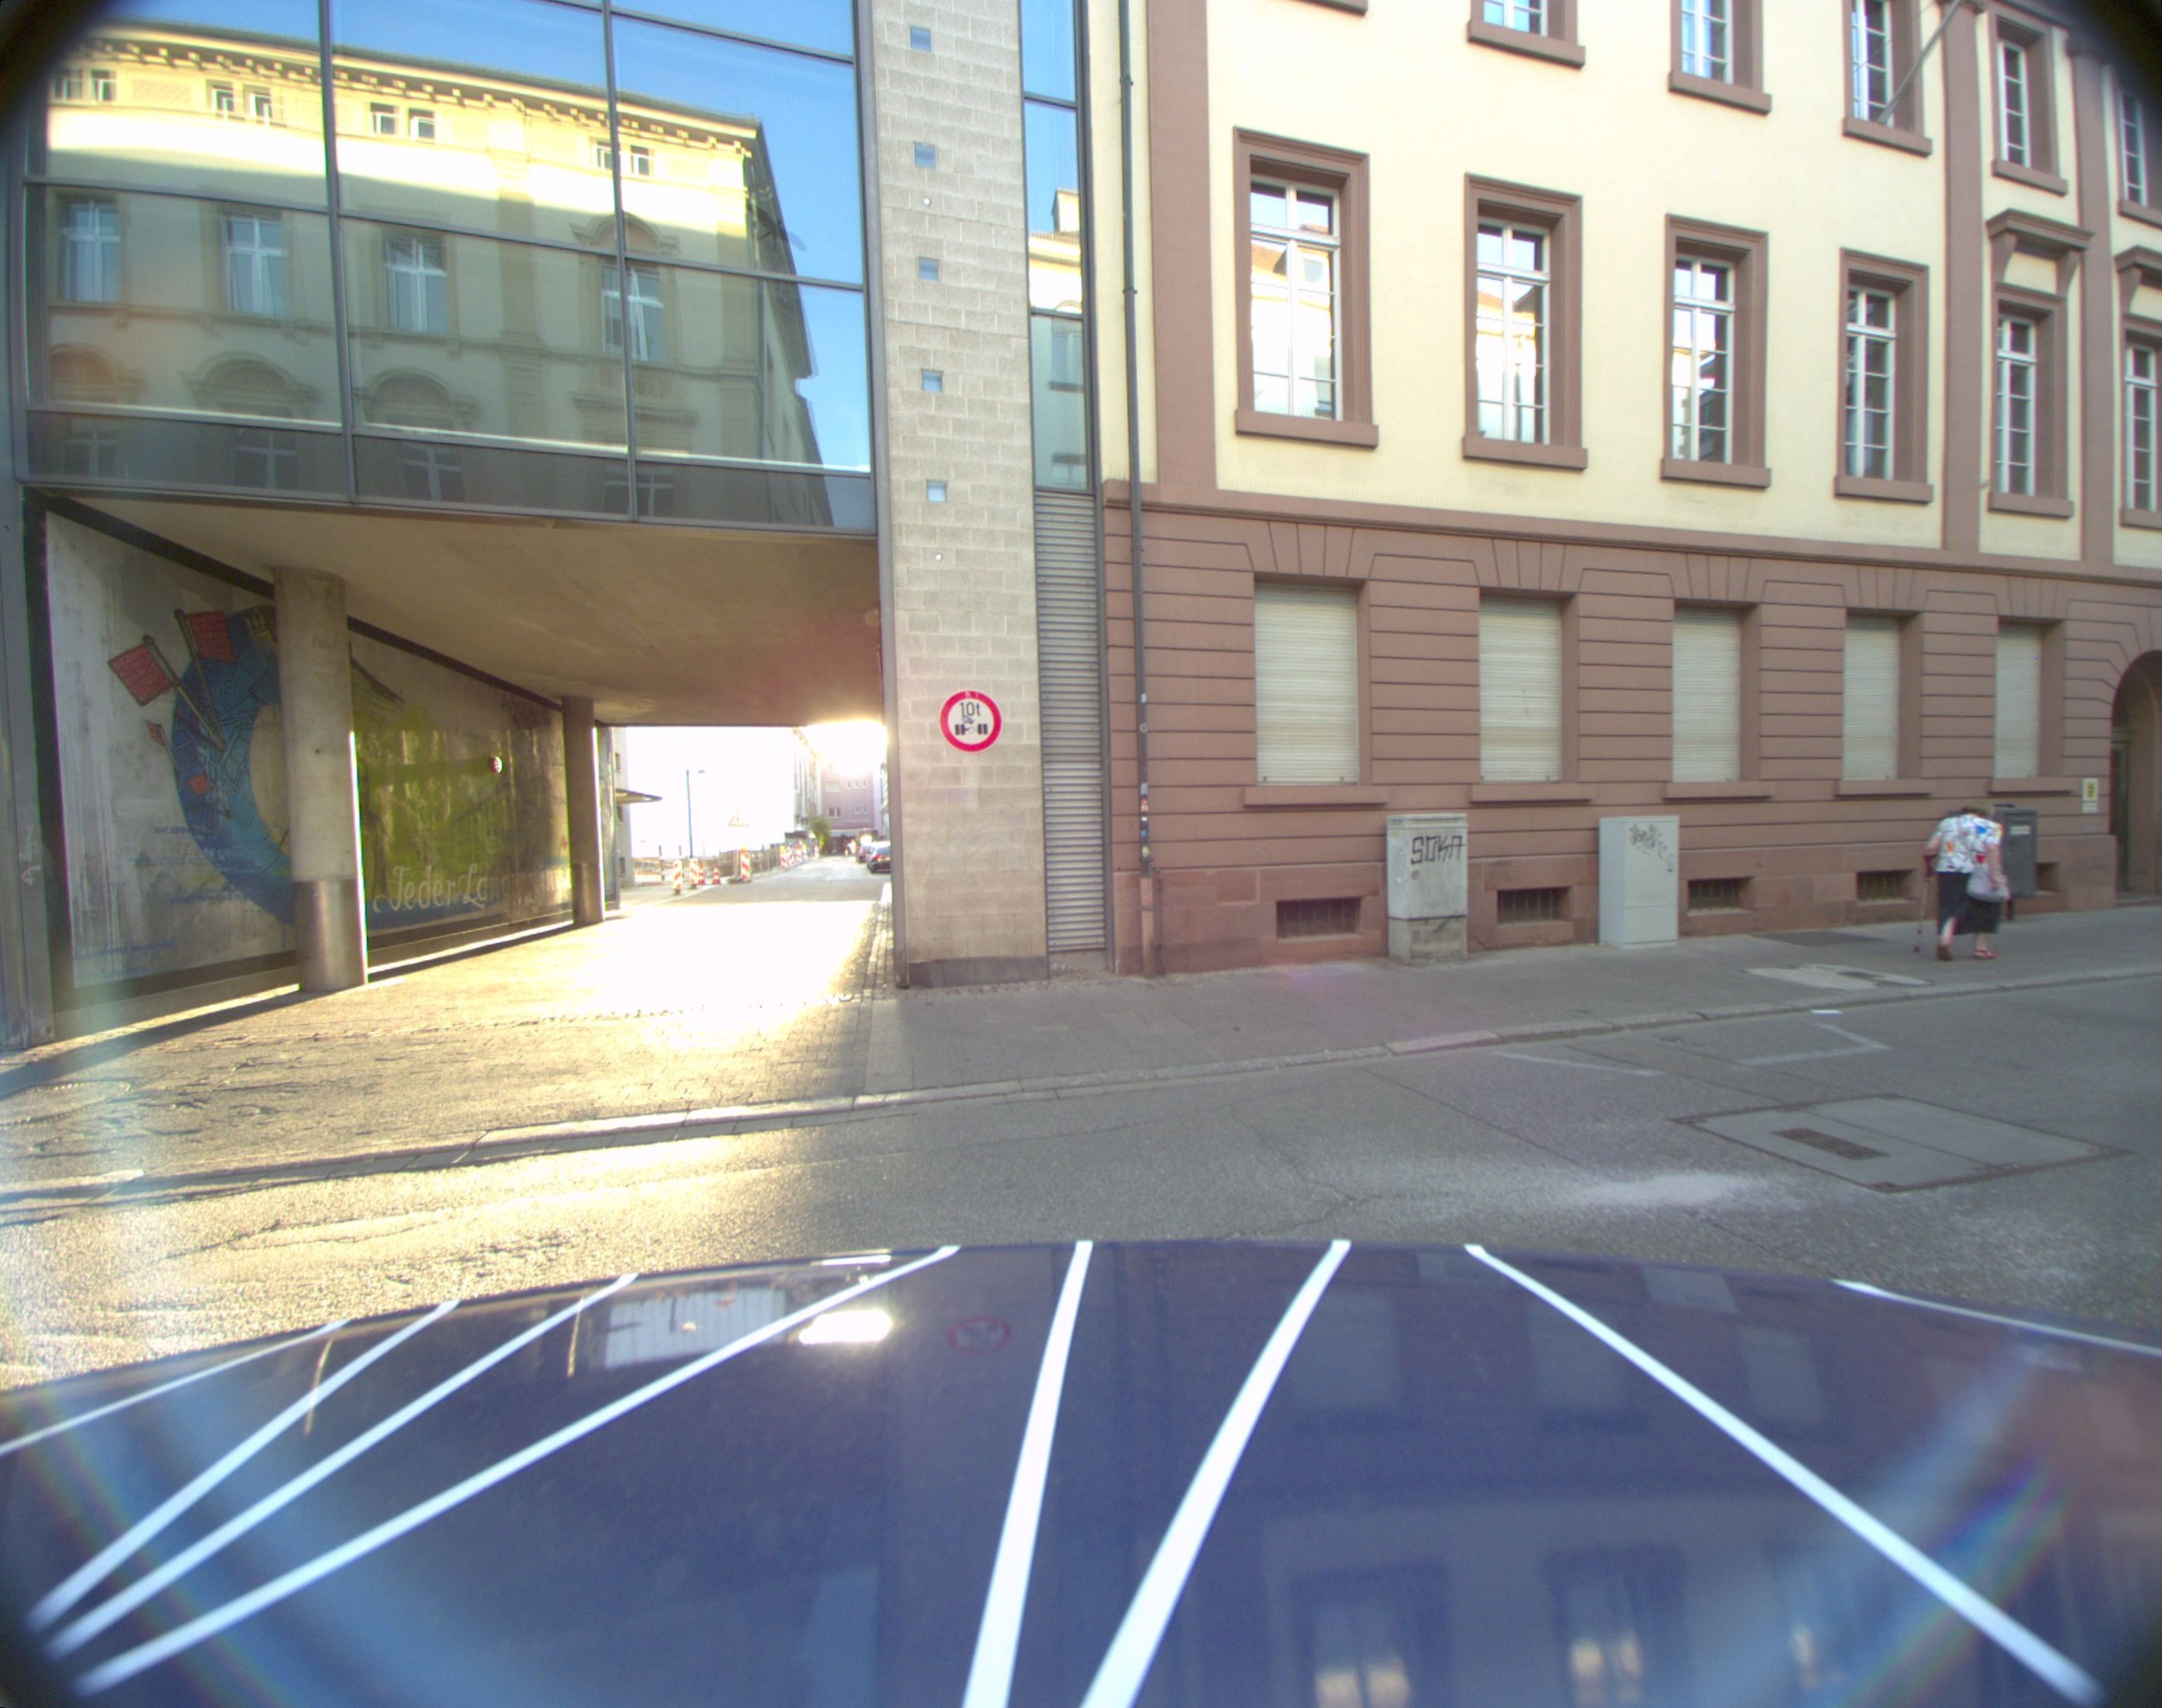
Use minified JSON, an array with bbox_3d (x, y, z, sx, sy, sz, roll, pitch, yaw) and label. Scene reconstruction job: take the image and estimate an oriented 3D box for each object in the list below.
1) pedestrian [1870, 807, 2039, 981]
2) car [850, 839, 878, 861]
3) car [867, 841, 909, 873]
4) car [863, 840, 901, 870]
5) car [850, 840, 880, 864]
[{"bbox_3d":[8.940,0.372,7.805,0.931,1.662,0.811,-2,2,-15],"label":"pedestrian"},{"bbox_3d":[-15.859,-0.289,55.479,1.603,1.484,3.438,-2,1,-21],"label":"car"},{"bbox_3d":[-9.660,0.138,37.838,1.603,1.484,3.438,-2,1,-21],"label":"car"},{"bbox_3d":[-10.912,0.038,41.492,1.603,1.484,3.438,-2,1,-21],"label":"car"},{"bbox_3d":[-14.448,-0.158,50.802,1.603,1.484,3.438,-2,1,-21],"label":"car"}]
